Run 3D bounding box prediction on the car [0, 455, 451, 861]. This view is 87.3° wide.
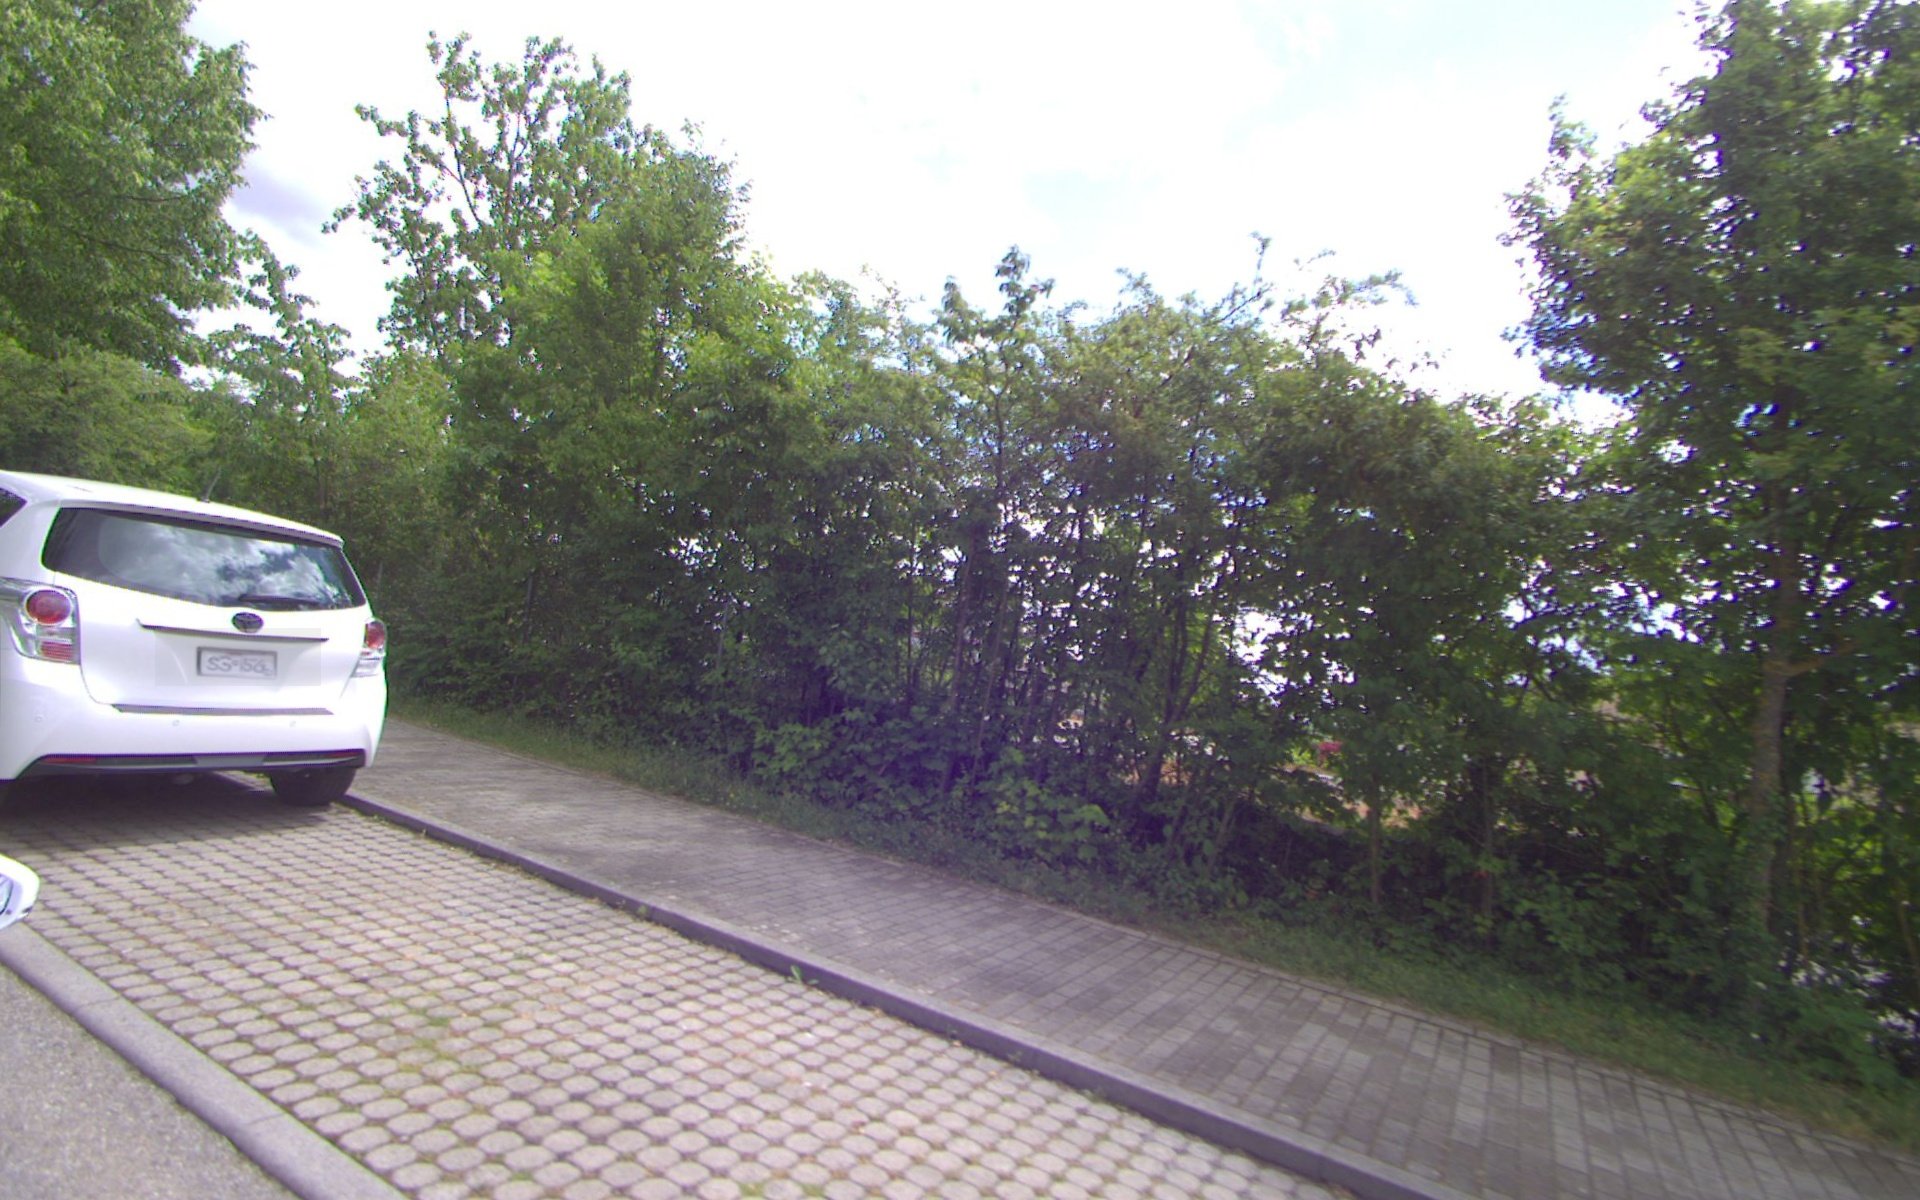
[{"bbox_3d":[-5.211,0.105,5.836,4.297,1.618,1.809,7,-2,30],"label":"car"}]
